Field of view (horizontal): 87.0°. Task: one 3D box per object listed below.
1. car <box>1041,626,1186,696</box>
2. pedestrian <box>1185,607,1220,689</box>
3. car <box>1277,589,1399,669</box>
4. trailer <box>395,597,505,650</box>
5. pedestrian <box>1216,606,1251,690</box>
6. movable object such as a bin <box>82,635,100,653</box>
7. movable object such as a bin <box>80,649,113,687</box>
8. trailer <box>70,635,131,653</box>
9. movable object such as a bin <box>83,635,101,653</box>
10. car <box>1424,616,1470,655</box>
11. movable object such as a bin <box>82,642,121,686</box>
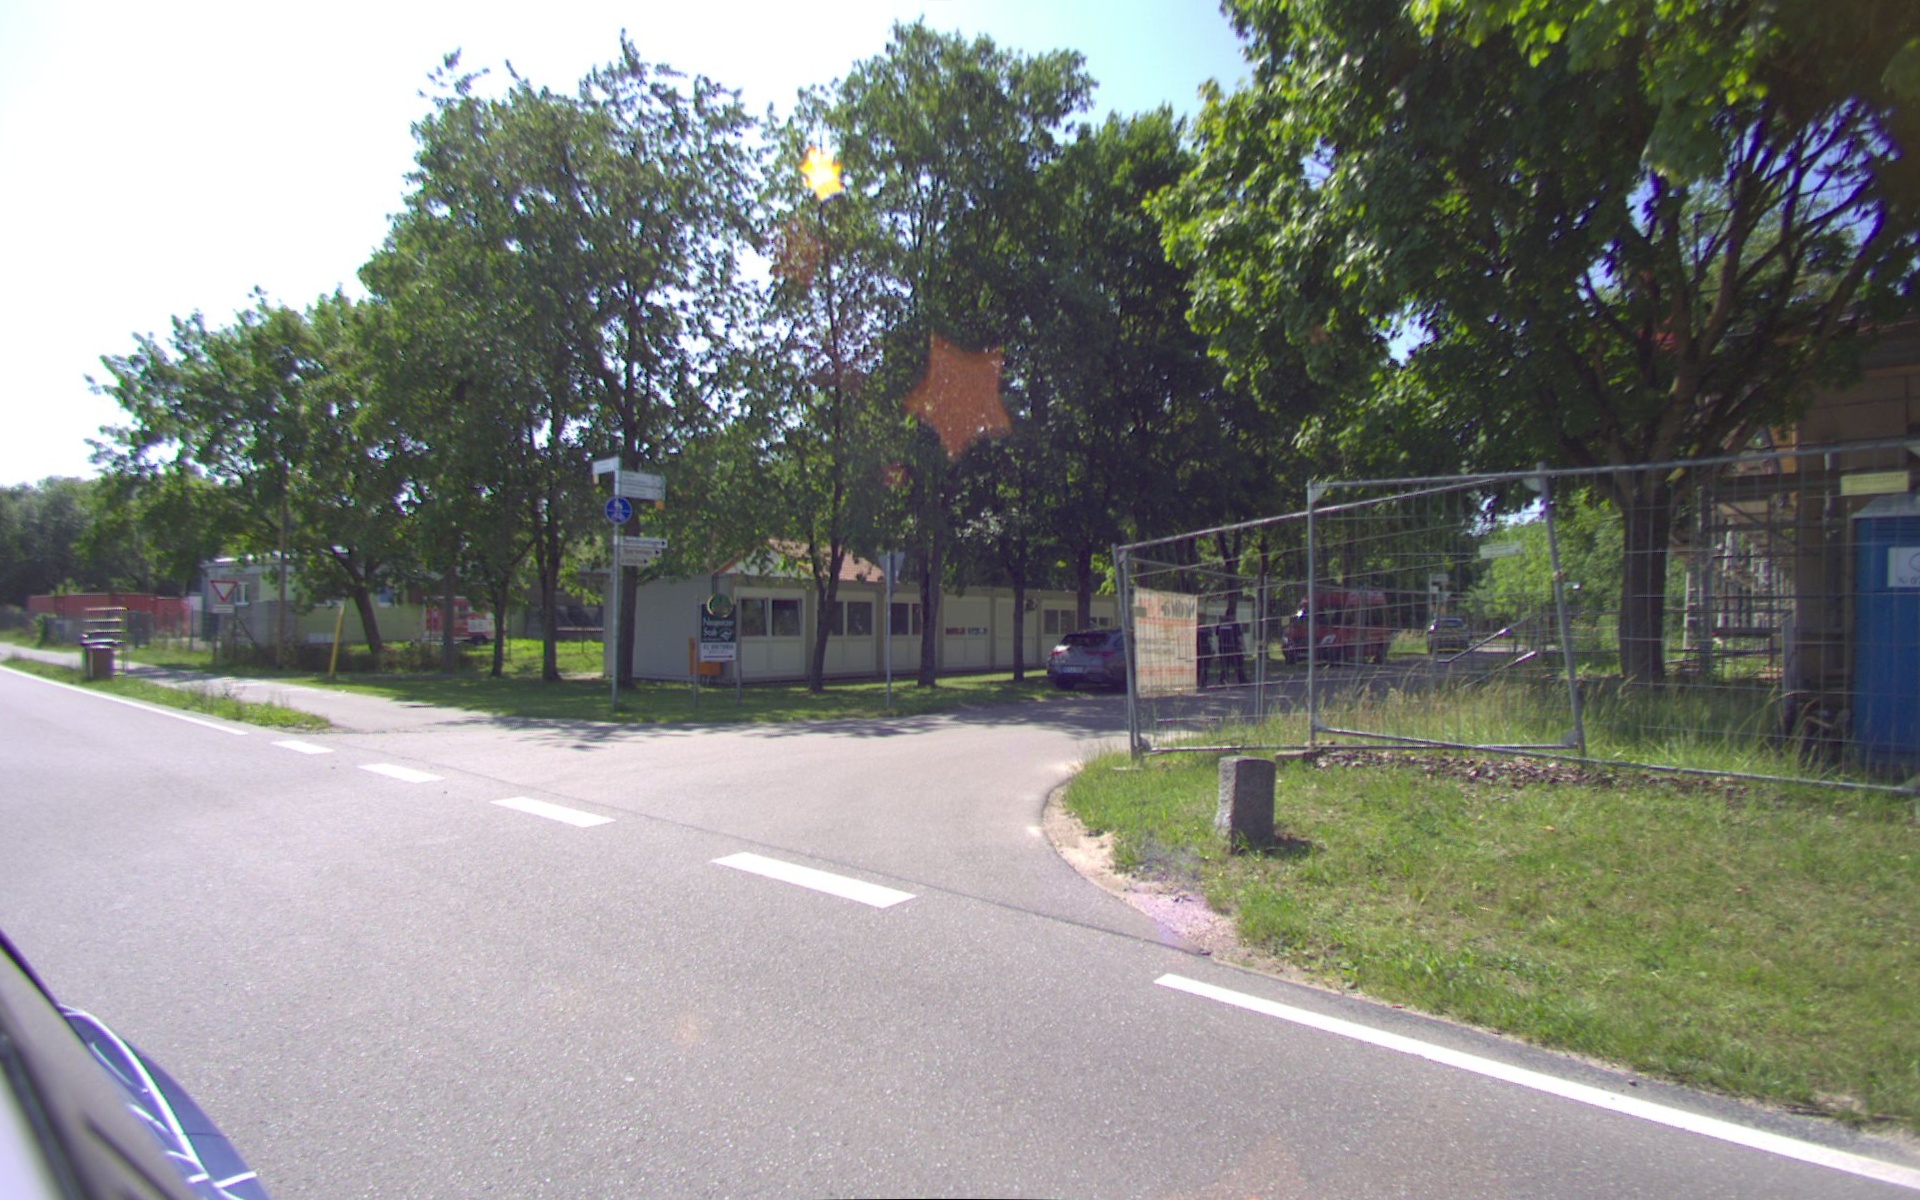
[{"bbox_3d":[3.494,1.307,22.484,1.754,1.410,3.768,-1,-2,34],"label":"car"},{"bbox_3d":[5.328,1.057,22.273,0.585,1.764,0.598,-1,-3,32],"label":"pedestrian"},{"bbox_3d":[13.441,1.035,35.731,2.120,2.597,5.997,-2,-3,40],"label":"car"},{"bbox_3d":[-23.170,1.117,46.133,1.820,2.295,4.197,-1,-2,28],"label":"trailer"},{"bbox_3d":[5.885,1.023,21.773,0.585,1.764,0.598,-1,-3,32],"label":"pedestrian"},{"bbox_3d":[-42.738,2.154,49.775,0.631,0.882,0.654,2,-3,-43],"label":"movable object such as a bin"},{"bbox_3d":[-20.462,1.608,23.980,0.555,0.883,0.614,2,-3,-41],"label":"movable object such as a bin"},{"bbox_3d":[-44.342,2.251,52.202,3.351,0.873,1.616,-1,-3,36],"label":"trailer"},{"bbox_3d":[-42.268,2.153,49.280,0.631,0.861,0.654,2,-3,-43],"label":"movable object such as a bin"},{"bbox_3d":[22.612,1.658,47.097,1.655,1.763,3.722,-1,-2,22],"label":"car"},{"bbox_3d":[-20.917,1.548,24.668,0.690,1.032,0.749,2,-3,-41],"label":"movable object such as a bin"}]
